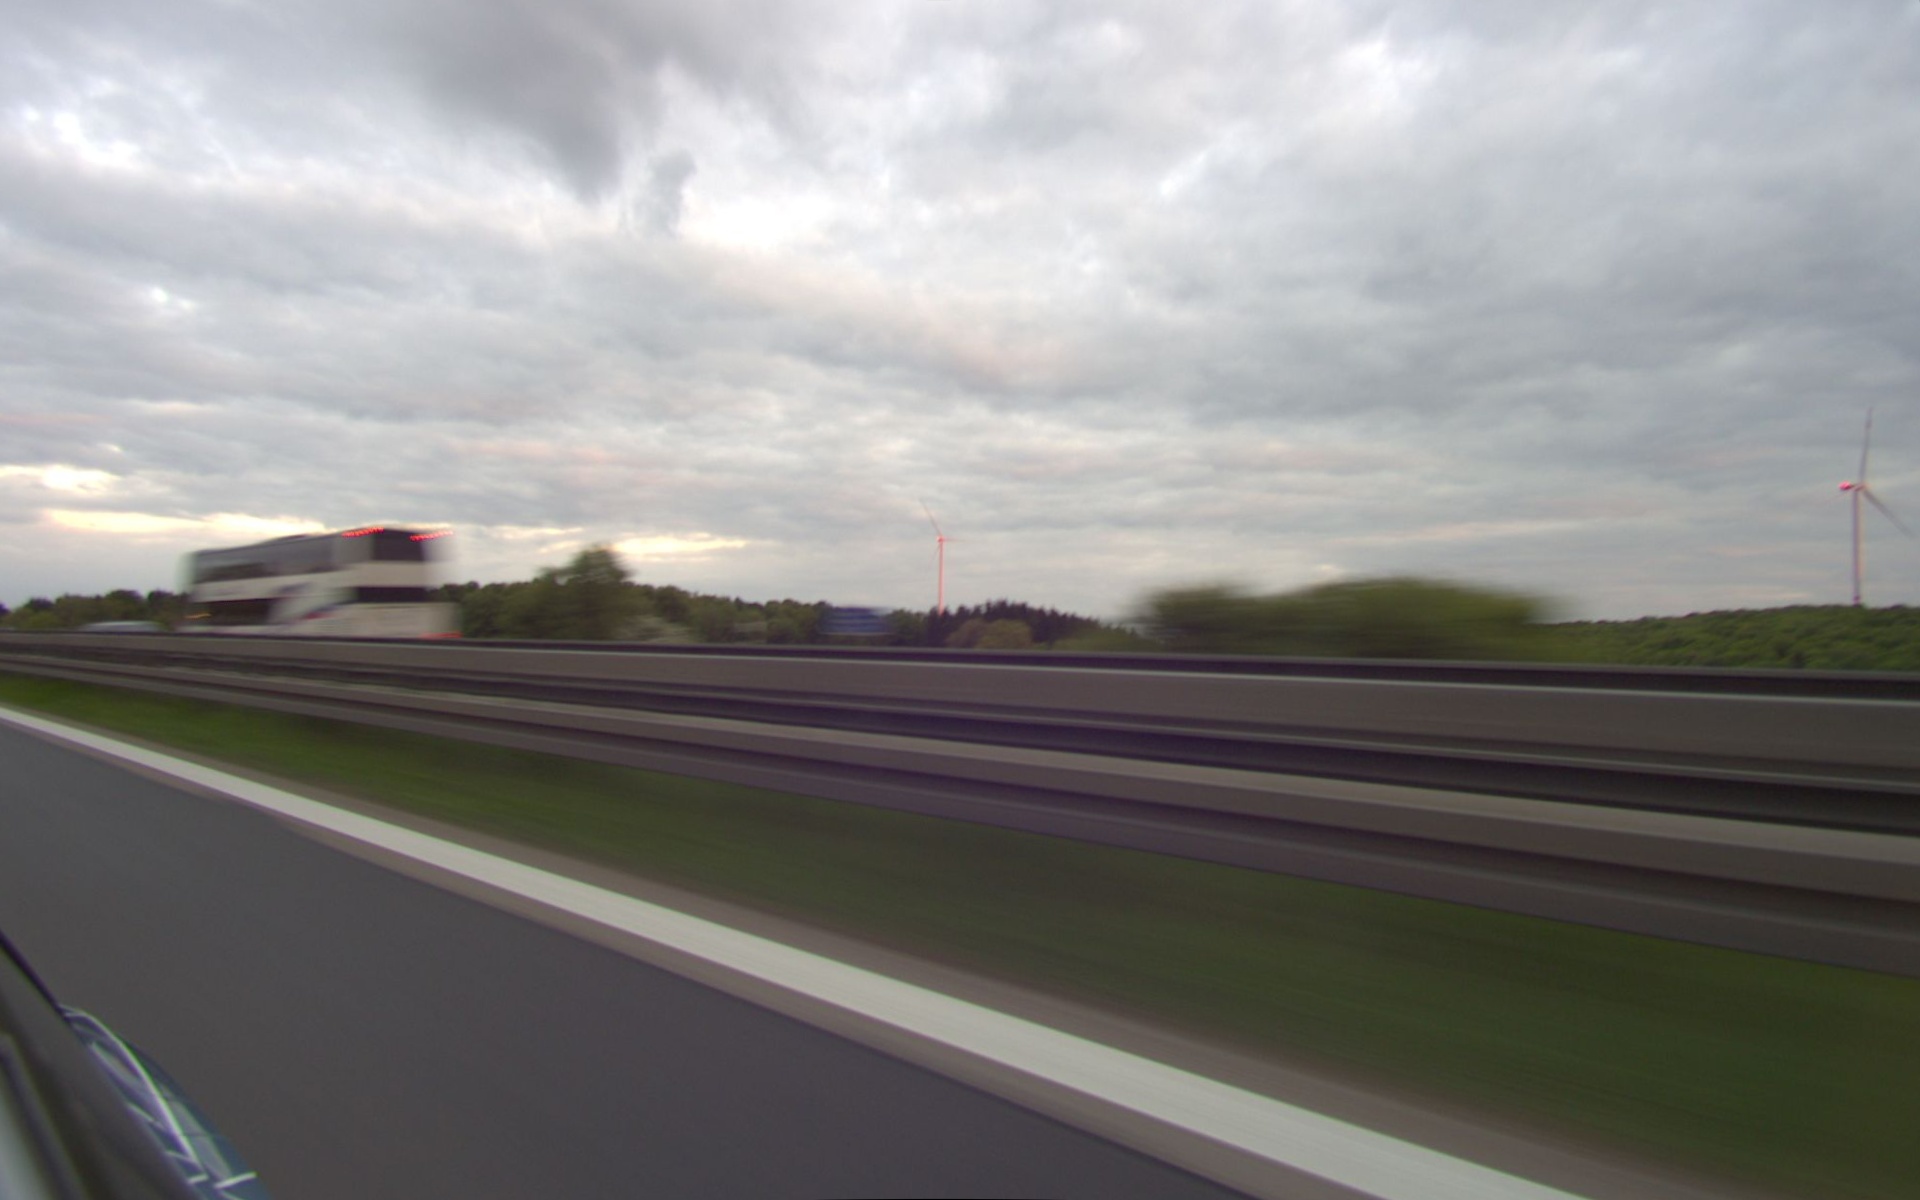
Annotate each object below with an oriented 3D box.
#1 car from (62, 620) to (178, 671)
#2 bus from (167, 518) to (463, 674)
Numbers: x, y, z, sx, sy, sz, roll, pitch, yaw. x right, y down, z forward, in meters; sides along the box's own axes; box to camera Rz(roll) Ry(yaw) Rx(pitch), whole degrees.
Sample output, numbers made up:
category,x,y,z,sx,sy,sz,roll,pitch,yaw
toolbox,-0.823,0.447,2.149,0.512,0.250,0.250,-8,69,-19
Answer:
category,x,y,z,sx,sy,sz,roll,pitch,yaw
car,-26.207,1.383,31.548,4.160,1.486,1.834,-1,-3,37
bus,-21.160,-0.061,32.439,14.787,4.107,3.136,-1,0,37
